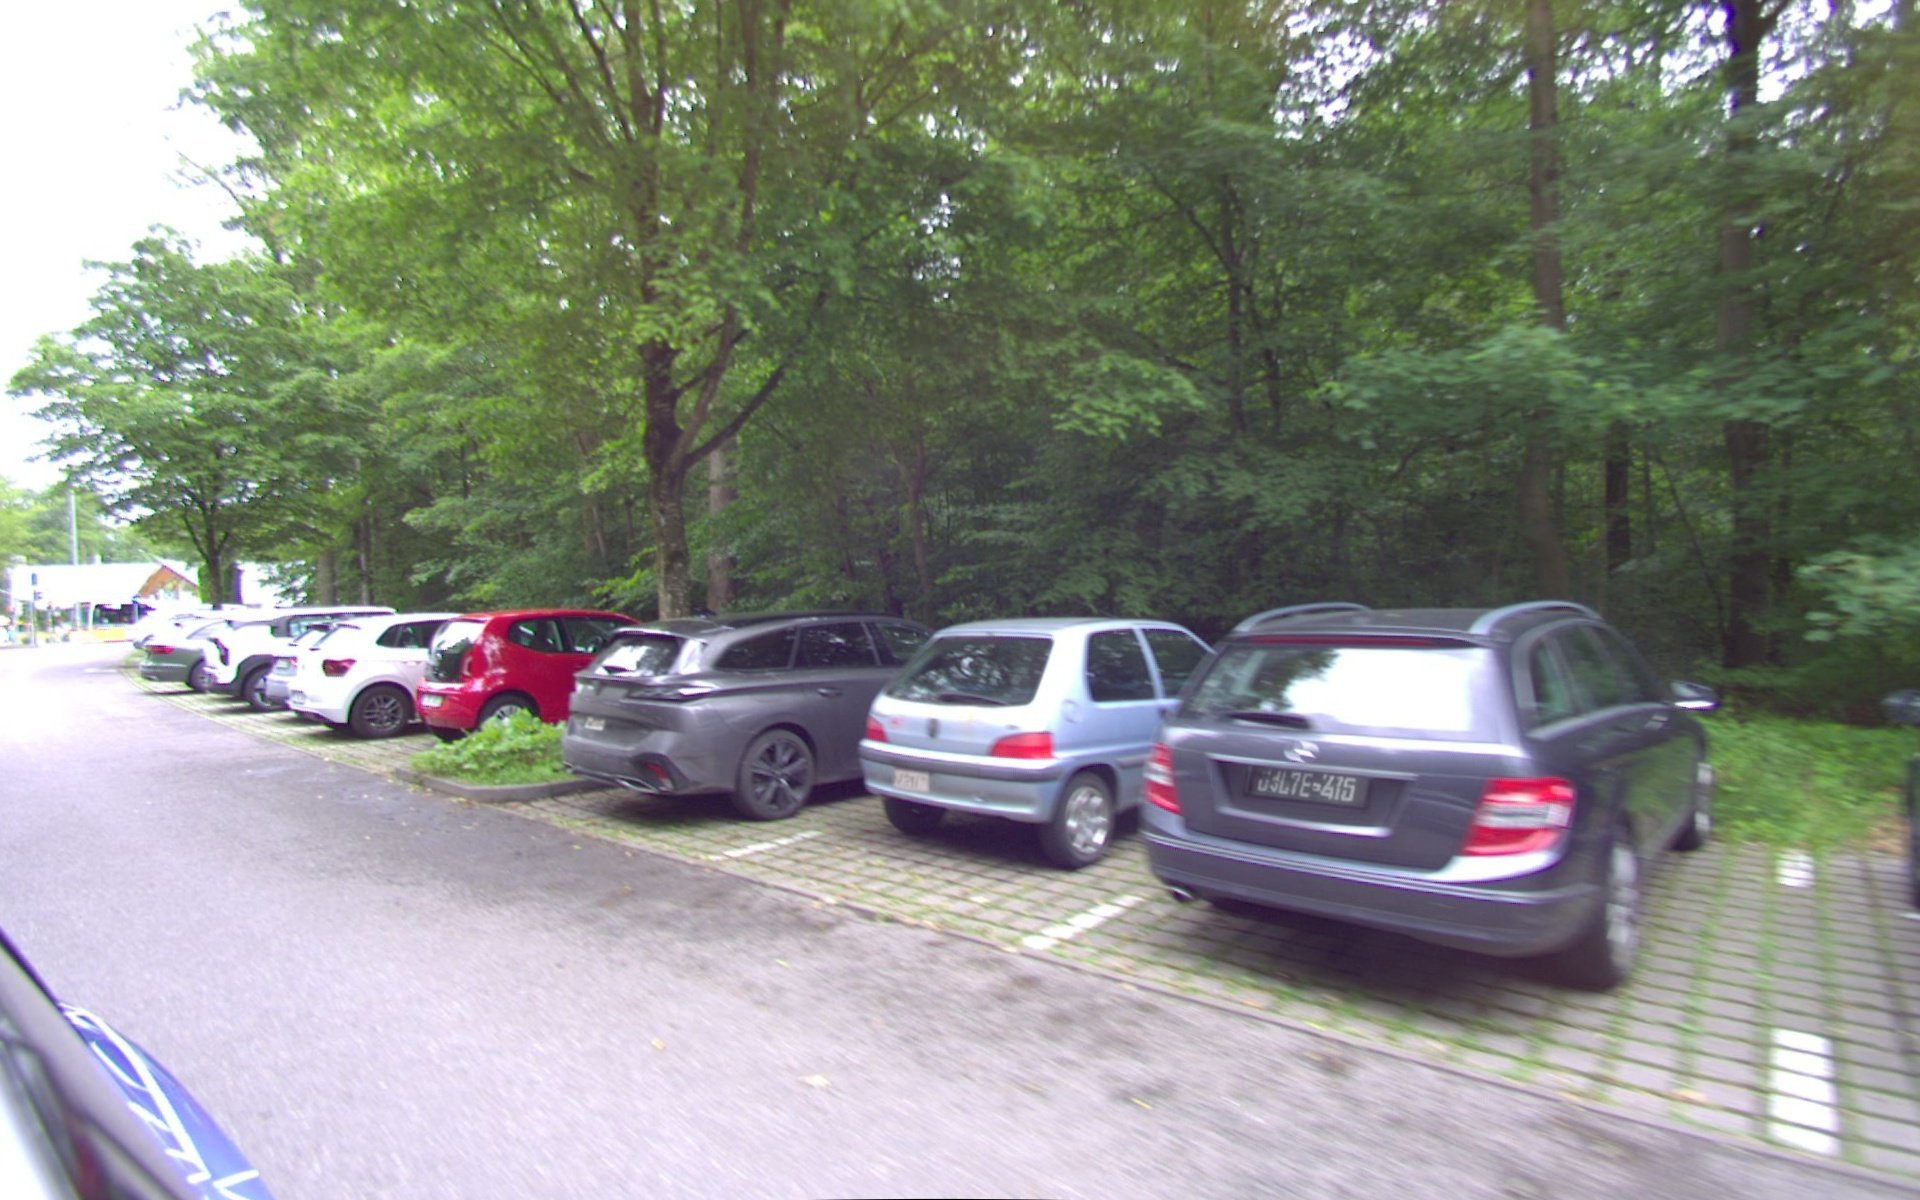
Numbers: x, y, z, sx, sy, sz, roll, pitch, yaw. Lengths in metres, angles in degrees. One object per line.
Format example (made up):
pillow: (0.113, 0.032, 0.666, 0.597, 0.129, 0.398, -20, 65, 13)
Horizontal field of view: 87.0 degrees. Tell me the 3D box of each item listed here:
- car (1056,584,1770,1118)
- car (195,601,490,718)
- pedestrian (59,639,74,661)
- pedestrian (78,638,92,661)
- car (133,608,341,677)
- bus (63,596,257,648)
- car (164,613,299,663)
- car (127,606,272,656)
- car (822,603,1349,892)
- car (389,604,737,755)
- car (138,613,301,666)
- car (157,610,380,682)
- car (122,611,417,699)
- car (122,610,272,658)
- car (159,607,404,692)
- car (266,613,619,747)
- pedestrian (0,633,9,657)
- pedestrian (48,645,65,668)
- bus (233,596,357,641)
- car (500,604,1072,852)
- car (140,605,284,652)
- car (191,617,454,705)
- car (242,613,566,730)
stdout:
car: (2.590, 0.701, 5.111, 2.057, 1.497, 4.220, -2, 0, 42)
car: (-9.994, 0.871, 16.469, 3.909, 1.640, 2.002, 0, -1, -37)
pedestrian: (-72.626, 4.064, 82.274, 0.555, 1.771, 0.667, -4, -1, 8)
pedestrian: (-71.734, 4.060, 82.977, 0.664, 1.771, 0.595, -5, -2, 22)
car: (-18.480, 1.034, 25.958, 4.180, 1.541, 2.009, -1, -1, -40)
bus: (-55.424, 1.455, 70.590, 2.796, 3.183, 10.429, -4, -2, 25)
car: (-24.062, 1.233, 33.502, 3.560, 1.485, 1.678, -1, -1, -37)
car: (-29.342, 1.170, 39.263, 4.366, 1.707, 2.176, -2, -1, -35)
car: (1.064, 0.758, 7.027, 1.756, 1.397, 3.715, -2, 0, 44)
car: (-4.553, 0.812, 11.883, 1.684, 1.492, 3.426, -2, -1, 43)
car: (-22.880, 1.176, 31.341, 3.938, 1.502, 1.710, 0, -2, -41)
car: (-16.435, 1.036, 24.180, 4.184, 1.545, 1.764, 0, -1, -44)
car: (-13.657, 1.010, 20.189, 4.585, 1.489, 2.096, 0, -1, -44)
car: (-27.912, 1.199, 37.173, 4.298, 1.610, 2.035, -1, -1, -36)
car: (-14.826, 1.013, 22.257, 1.971, 1.660, 4.185, -2, -1, 44)
car: (-6.595, 0.910, 13.120, 1.872, 1.430, 3.685, -2, -1, 44)
pedestrian: (-71.910, 3.386, 75.907, 0.726, 1.771, 0.669, -3, -2, -44)
pedestrian: (-73.302, 4.578, 82.078, 0.721, 1.771, 0.739, -4, -1, -19)
bus: (-51.600, 1.367, 78.754, 2.796, 3.183, 7.690, -4, -2, 25)
car: (-1.190, 0.796, 8.411, 2.035, 1.435, 4.357, -2, 0, 43)
car: (-33.378, 1.240, 45.356, 5.016, 1.930, 1.984, -1, -1, -32)
car: (-11.472, 1.025, 18.353, 1.730, 1.366, 3.746, -2, -1, 45)
car: (-8.043, 0.943, 14.879, 1.896, 1.432, 3.763, -2, -1, 40)
